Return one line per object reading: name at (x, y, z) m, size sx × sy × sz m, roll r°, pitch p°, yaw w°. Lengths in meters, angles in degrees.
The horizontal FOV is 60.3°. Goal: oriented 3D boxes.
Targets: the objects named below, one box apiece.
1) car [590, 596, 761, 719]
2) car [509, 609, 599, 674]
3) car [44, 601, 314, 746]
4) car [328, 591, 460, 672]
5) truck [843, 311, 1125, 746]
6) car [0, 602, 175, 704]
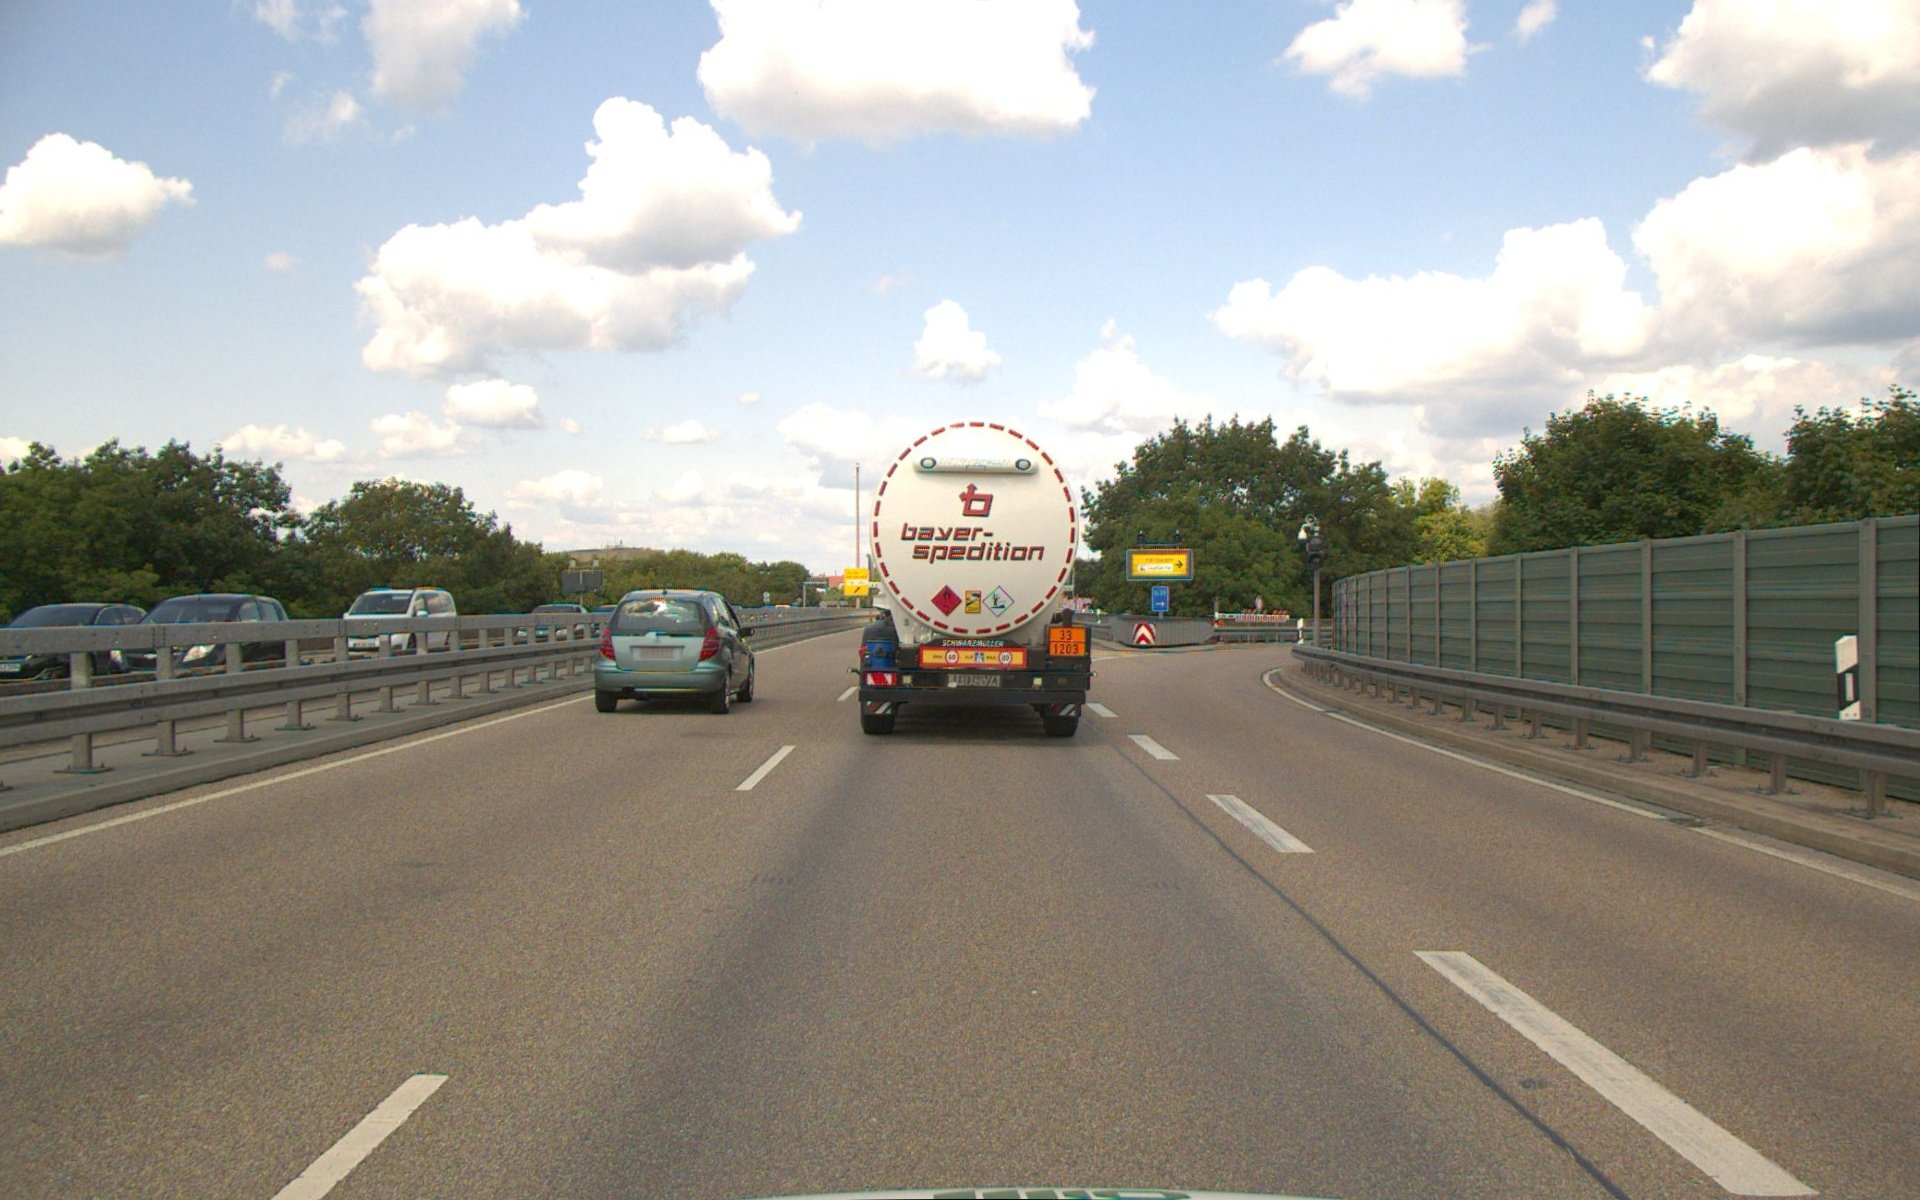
car at (-3.837, 0.725, 22.914) m, size 1.712 × 1.558 × 3.999 m, roll 0°, pitch 0°, yaw -1°
car at (-11.320, 1.121, 46.343) m, size 1.692 × 1.651 × 3.740 m, roll 1°, pitch 1°, yaw -2°
car at (-11.217, 0.989, 24.125) m, size 1.953 × 1.889 × 4.237 m, roll 1°, pitch 0°, yaw -2°
car at (-14.964, 0.777, 44.038) m, size 1.921 × 1.959 × 5.189 m, roll 2°, pitch 1°, yaw -3°
truck at (0.184, -0.713, 21.122) m, size 2.836 × 4.445 × 8.027 m, roll 1°, pitch 0°, yaw -1°
car at (-15.378, 0.860, 28.358) m, size 1.885 × 1.601 × 4.243 m, roll -1°, pitch 0°, yaw -2°
